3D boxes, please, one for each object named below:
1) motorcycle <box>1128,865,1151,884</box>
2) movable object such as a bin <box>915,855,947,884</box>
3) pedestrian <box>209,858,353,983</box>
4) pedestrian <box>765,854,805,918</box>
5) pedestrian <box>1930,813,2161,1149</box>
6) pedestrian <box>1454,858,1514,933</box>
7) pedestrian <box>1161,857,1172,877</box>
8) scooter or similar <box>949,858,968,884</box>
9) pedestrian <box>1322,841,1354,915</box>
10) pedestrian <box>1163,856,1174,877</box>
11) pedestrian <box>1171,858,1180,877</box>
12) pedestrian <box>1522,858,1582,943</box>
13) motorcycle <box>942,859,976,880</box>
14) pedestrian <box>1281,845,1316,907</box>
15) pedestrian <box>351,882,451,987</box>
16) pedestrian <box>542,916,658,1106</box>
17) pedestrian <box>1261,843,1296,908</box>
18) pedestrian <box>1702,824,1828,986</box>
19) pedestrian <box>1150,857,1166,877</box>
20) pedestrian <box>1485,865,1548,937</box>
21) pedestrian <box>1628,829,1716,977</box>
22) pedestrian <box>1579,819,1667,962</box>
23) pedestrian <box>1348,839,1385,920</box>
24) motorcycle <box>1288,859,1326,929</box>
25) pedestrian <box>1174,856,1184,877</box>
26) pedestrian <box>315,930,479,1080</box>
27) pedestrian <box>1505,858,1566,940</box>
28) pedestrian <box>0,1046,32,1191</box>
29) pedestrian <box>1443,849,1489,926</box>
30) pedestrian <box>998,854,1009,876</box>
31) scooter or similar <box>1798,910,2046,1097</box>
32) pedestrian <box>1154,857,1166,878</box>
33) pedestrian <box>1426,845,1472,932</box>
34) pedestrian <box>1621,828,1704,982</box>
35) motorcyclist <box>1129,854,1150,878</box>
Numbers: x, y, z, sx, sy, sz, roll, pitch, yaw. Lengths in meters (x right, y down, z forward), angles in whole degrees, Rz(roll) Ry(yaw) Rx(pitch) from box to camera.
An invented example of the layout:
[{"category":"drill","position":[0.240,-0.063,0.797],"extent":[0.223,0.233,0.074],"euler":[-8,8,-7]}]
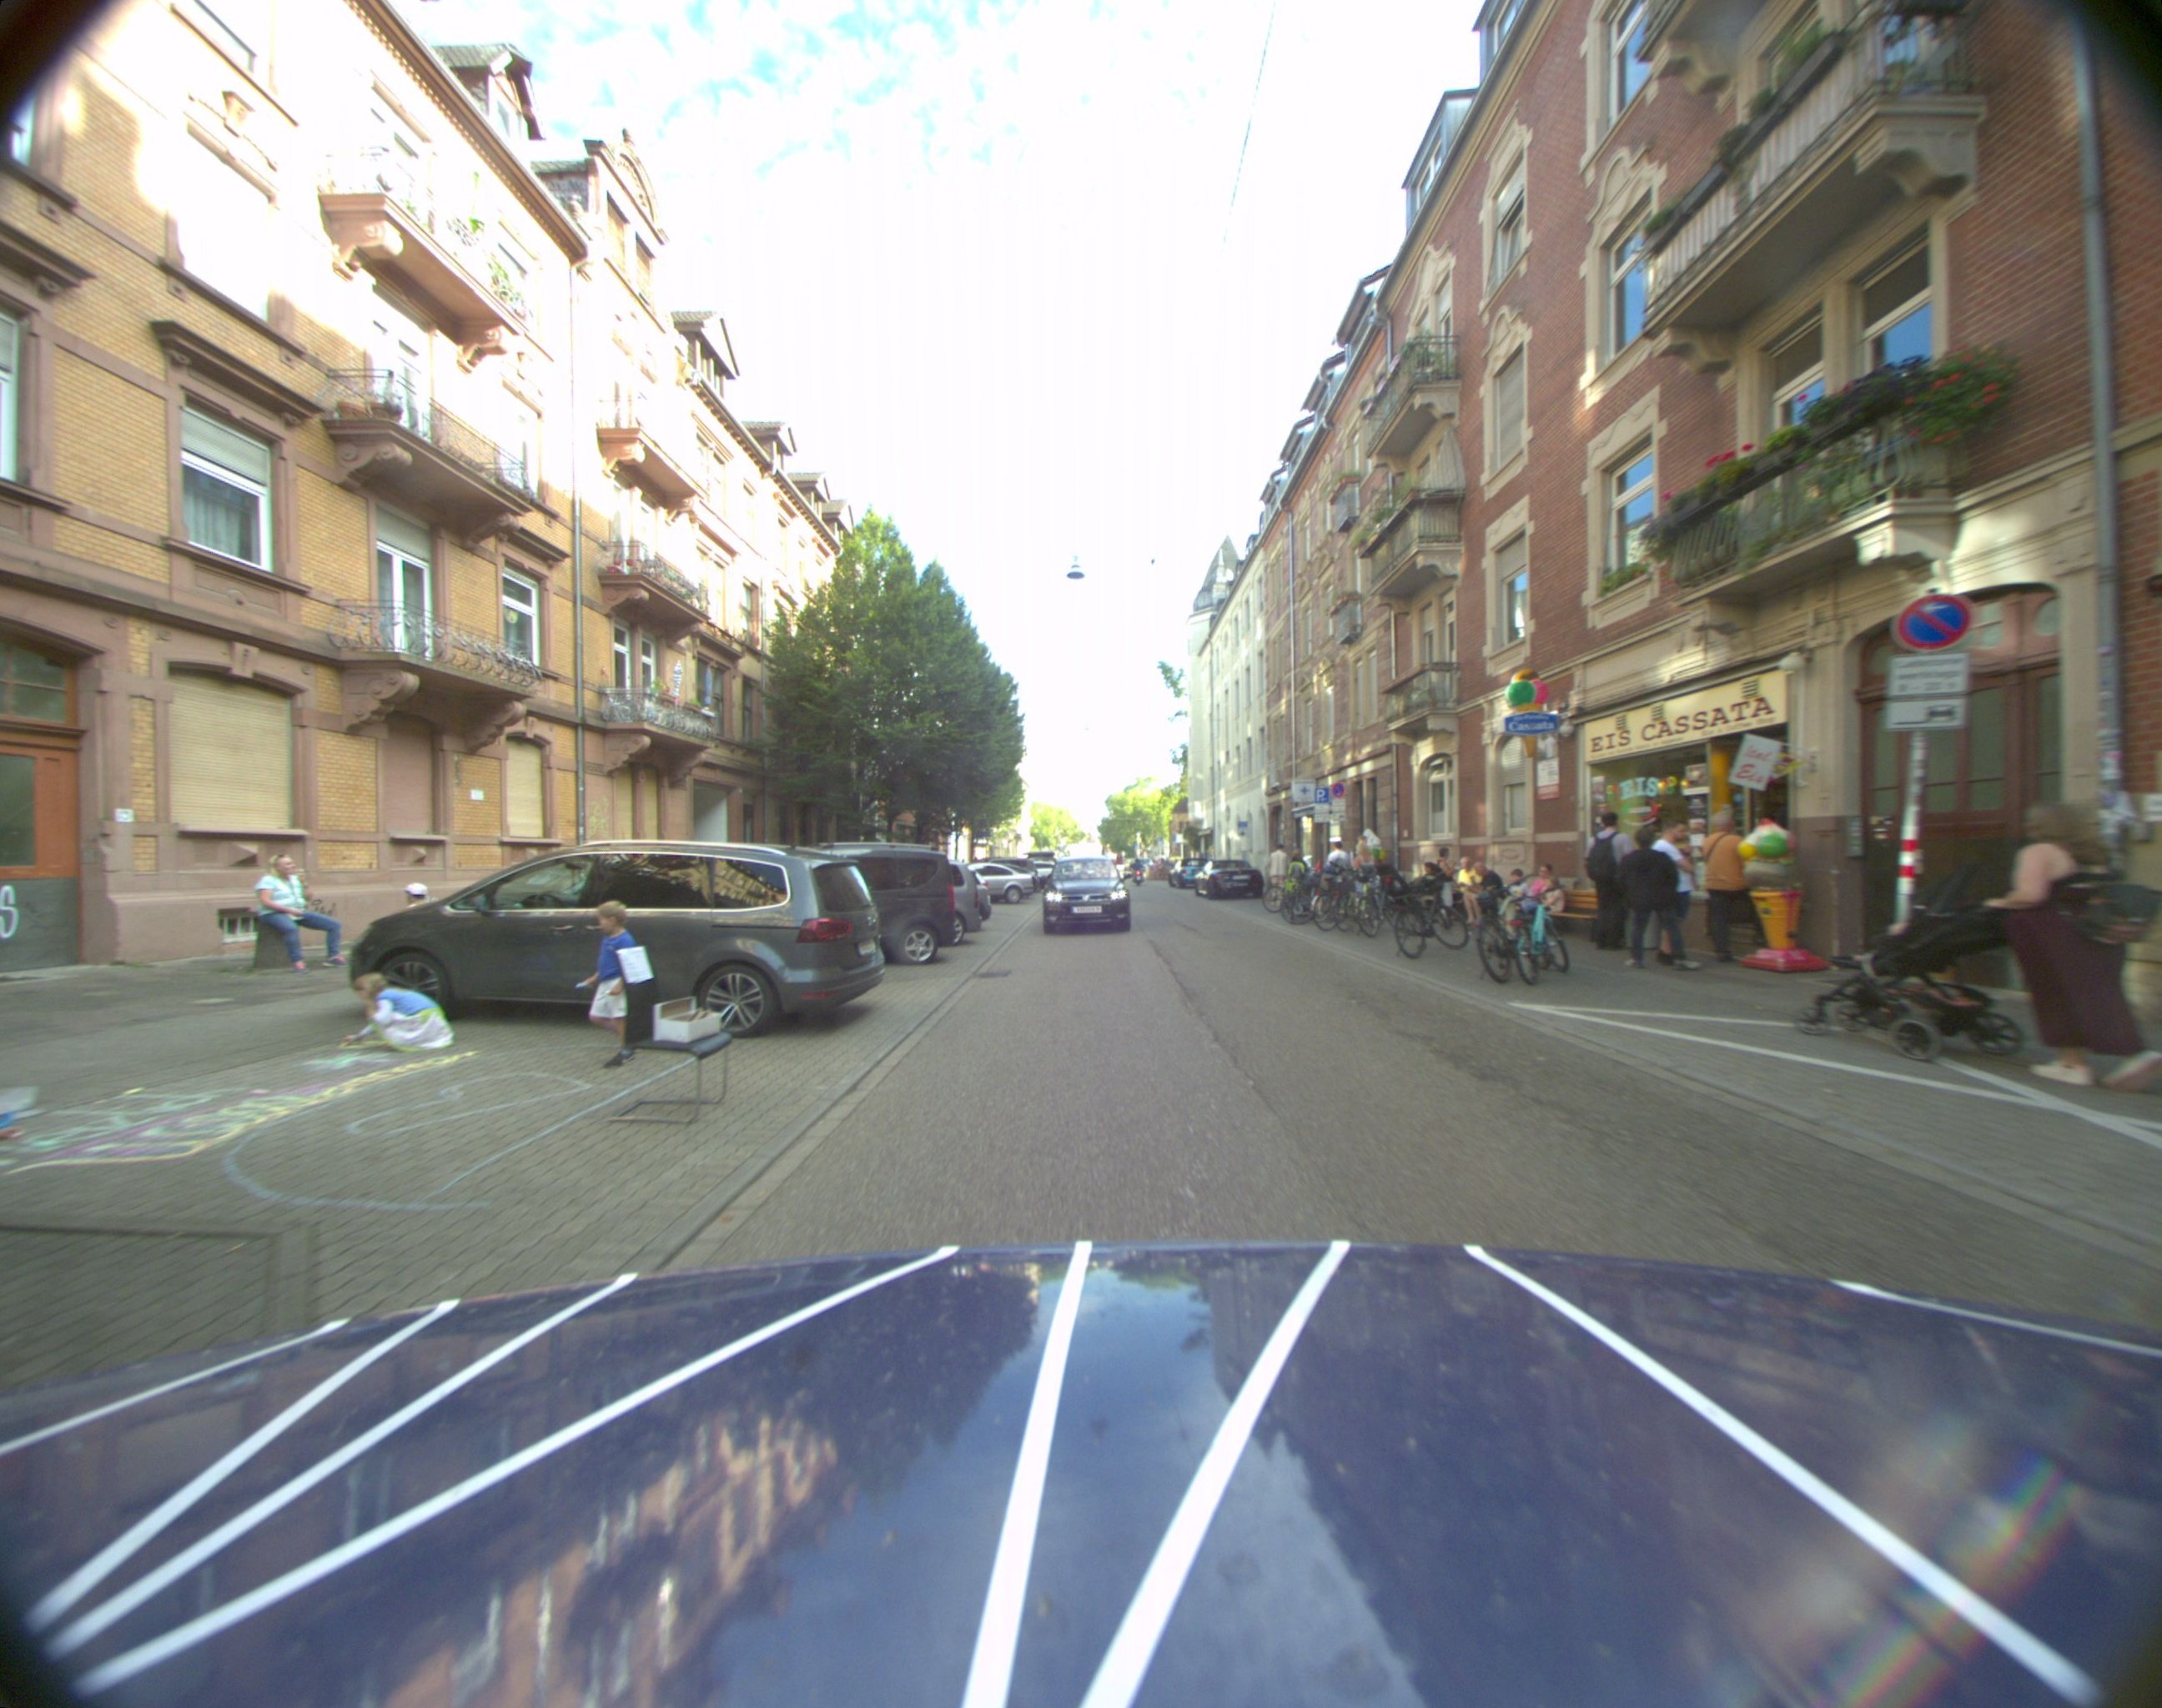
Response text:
[{"category":"motorcycle","position":[3.266,1.146,42.561],"extent":[0.796,0.989,2.498],"euler":[-2,0,-5]},{"category":"movable object such as a bin","position":[-8.100,0.835,41.184],"extent":[1.375,1.451,1.164],"euler":[6,0,-1]},{"category":"pedestrian","position":[-9.964,0.799,9.499],"extent":[0.930,1.488,0.812],"euler":[0,0,-6]},{"category":"pedestrian","position":[-7.753,0.831,19.906],"extent":[0.733,1.625,0.833],"euler":[0,1,-1]},{"category":"pedestrian","position":[5.626,0.613,4.209],"extent":[0.914,1.651,0.827],"euler":[-2,0,-7]},{"category":"pedestrian","position":[7.318,0.743,13.819],"extent":[0.725,1.306,0.606],"euler":[-2,0,-3]},{"category":"pedestrian","position":[5.907,0.903,52.449],"extent":[0.668,1.328,0.740],"euler":[-2,0,8]},{"category":"scooter or similar","position":[-6.814,0.937,42.360],"extent":[0.524,1.372,1.323],"euler":[-2,0,15]},{"category":"pedestrian","position":[6.206,0.563,18.383],"extent":[0.605,1.741,0.946],"euler":[-2,0,13]},{"category":"pedestrian","position":[5.889,0.854,51.073],"extent":[0.689,1.365,0.739],"euler":[-2,0,5]},{"category":"pedestrian","position":[6.527,0.919,52.331],"extent":[0.597,1.236,0.694],"euler":[-2,0,8]},{"category":"pedestrian","position":[7.567,0.736,12.205],"extent":[0.703,1.306,0.373],"euler":[-2,1,-3]},{"category":"motorcycle","position":[-7.744,0.985,48.458],"extent":[1.984,1.220,0.827],"euler":[3,0,-1]},{"category":"pedestrian","position":[6.286,0.645,21.990],"extent":[0.761,1.749,0.667],"euler":[-2,0,31]},{"category":"pedestrian","position":[-8.382,0.974,9.395],"extent":[0.602,1.212,0.673],"euler":[2,0,1]},{"category":"pedestrian","position":[-3.511,1.106,5.560],"extent":[0.470,1.244,0.510],"euler":[4,1,30]},{"category":"pedestrian","position":[5.617,0.616,21.608],"extent":[0.761,1.808,0.667],"euler":[-2,1,31]},{"category":"pedestrian","position":[7.535,0.538,8.403],"extent":[0.665,1.686,0.763],"euler":[-2,0,1]},{"category":"pedestrian","position":[5.500,0.914,54.262],"extent":[1.088,1.365,0.895],"euler":[-2,0,9]},{"category":"pedestrian","position":[7.523,0.803,13.139],"extent":[0.710,1.189,0.586],"euler":[-2,0,-3]},{"category":"pedestrian","position":[7.111,0.565,9.151],"extent":[0.667,1.686,0.584],"euler":[-3,1,-30]},{"category":"pedestrian","position":[7.326,0.475,10.286],"extent":[0.764,1.843,0.664],"euler":[-3,1,-30]},{"category":"pedestrian","position":[6.360,0.562,16.964],"extent":[0.605,1.741,0.726],"euler":[-2,1,11]},{"category":"motorcycle","position":[4.881,0.832,16.487],"extent":[0.708,1.376,2.026],"euler":[-2,0,16]},{"category":"pedestrian","position":[6.573,0.840,50.957],"extent":[0.637,1.364,0.684],"euler":[-2,0,5]},{"category":"pedestrian","position":[-5.263,1.130,5.884],"extent":[0.640,1.014,0.687],"euler":[0,1,6]},{"category":"pedestrian","position":[7.545,0.735,12.617],"extent":[0.719,1.306,0.439],"euler":[-2,1,-3]},{"category":"pedestrian","position":[-5.629,1.325,3.570],"extent":[0.488,0.660,0.700],"euler":[2,1,18]},{"category":"pedestrian","position":[7.574,0.646,14.971],"extent":[0.605,1.461,0.726],"euler":[-2,0,11]},{"category":"pedestrian","position":[-6.005,0.851,59.219],"extent":[0.754,1.728,0.952],"euler":[2,0,-3]},{"category":"scooter or similar","position":[5.609,0.952,5.130],"extent":[0.607,1.049,0.922],"euler":[-2,0,-4]},{"category":"pedestrian","position":[5.352,0.915,51.662],"extent":[0.738,1.341,0.644],"euler":[-2,0,4]},{"category":"pedestrian","position":[6.987,0.646,14.437],"extent":[0.554,1.607,0.584],"euler":[-2,0,1]},{"category":"pedestrian","position":[6.675,0.558,8.718],"extent":[0.566,1.686,0.645],"euler":[-3,1,-45]},{"category":"motorcyclist","position":[3.254,0.665,42.383],"extent":[1.016,1.238,0.803],"euler":[-2,0,-5]}]
